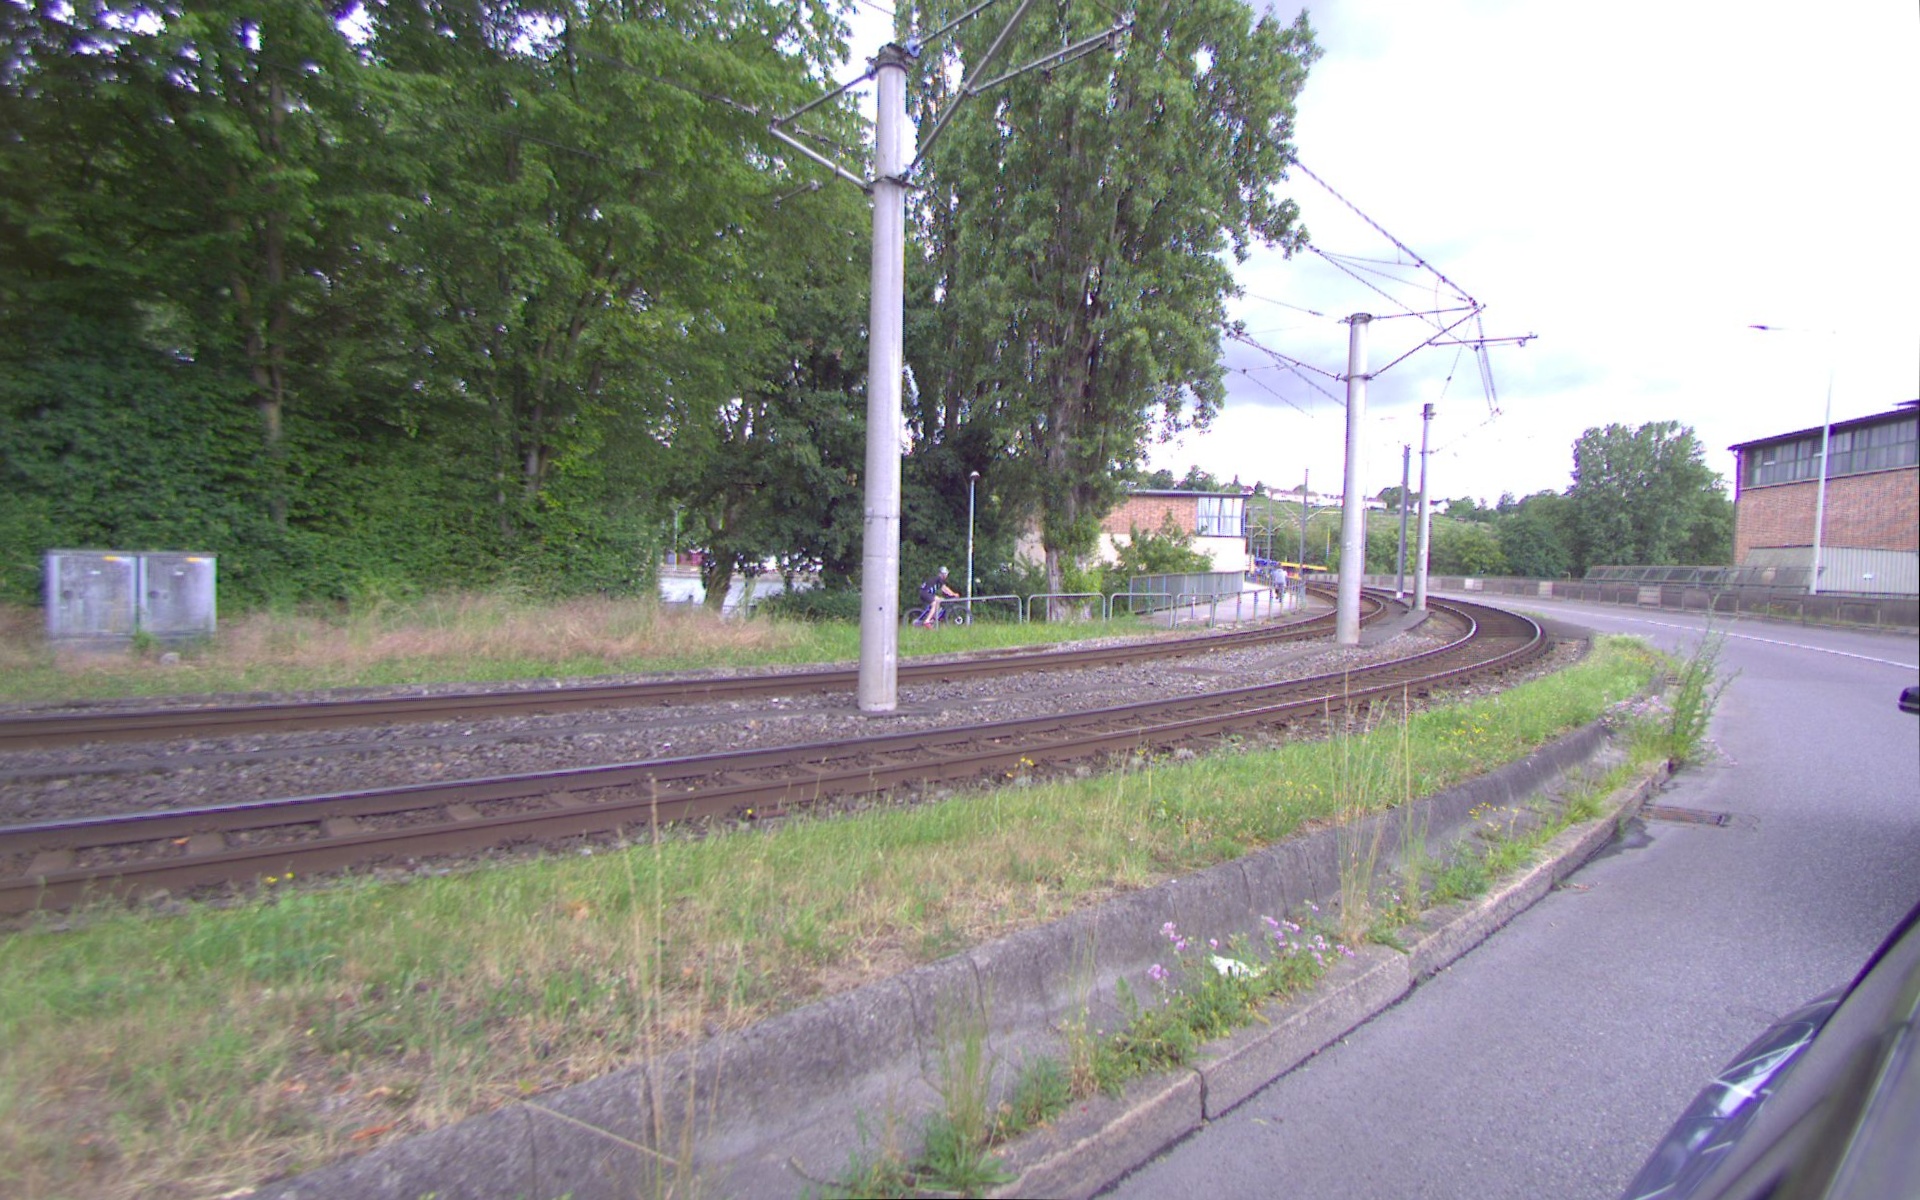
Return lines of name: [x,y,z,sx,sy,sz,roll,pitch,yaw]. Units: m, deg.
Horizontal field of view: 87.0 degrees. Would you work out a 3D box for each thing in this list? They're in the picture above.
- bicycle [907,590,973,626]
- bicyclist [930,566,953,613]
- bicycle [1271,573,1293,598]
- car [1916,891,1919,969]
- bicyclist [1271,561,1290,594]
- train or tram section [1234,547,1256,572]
bicycle: [-0.468,0.187,23.887,1.516,0.804,0.348,1,1,-6]
bicyclist: [-0.438,-0.246,23.887,0.465,1.097,0.418,1,1,-6]
bicycle: [13.931,-0.620,43.710,0.424,1.063,2.057,1,1,31]
car: [5.866,0.648,4.678,3.934,1.641,1.858,-2,4,-44]
bicyclist: [13.835,-0.967,43.734,0.591,1.377,0.901,1,1,31]
train or tram section: [46.719,-6.688,166.083,2.988,3.966,9.405,2,3,14]
